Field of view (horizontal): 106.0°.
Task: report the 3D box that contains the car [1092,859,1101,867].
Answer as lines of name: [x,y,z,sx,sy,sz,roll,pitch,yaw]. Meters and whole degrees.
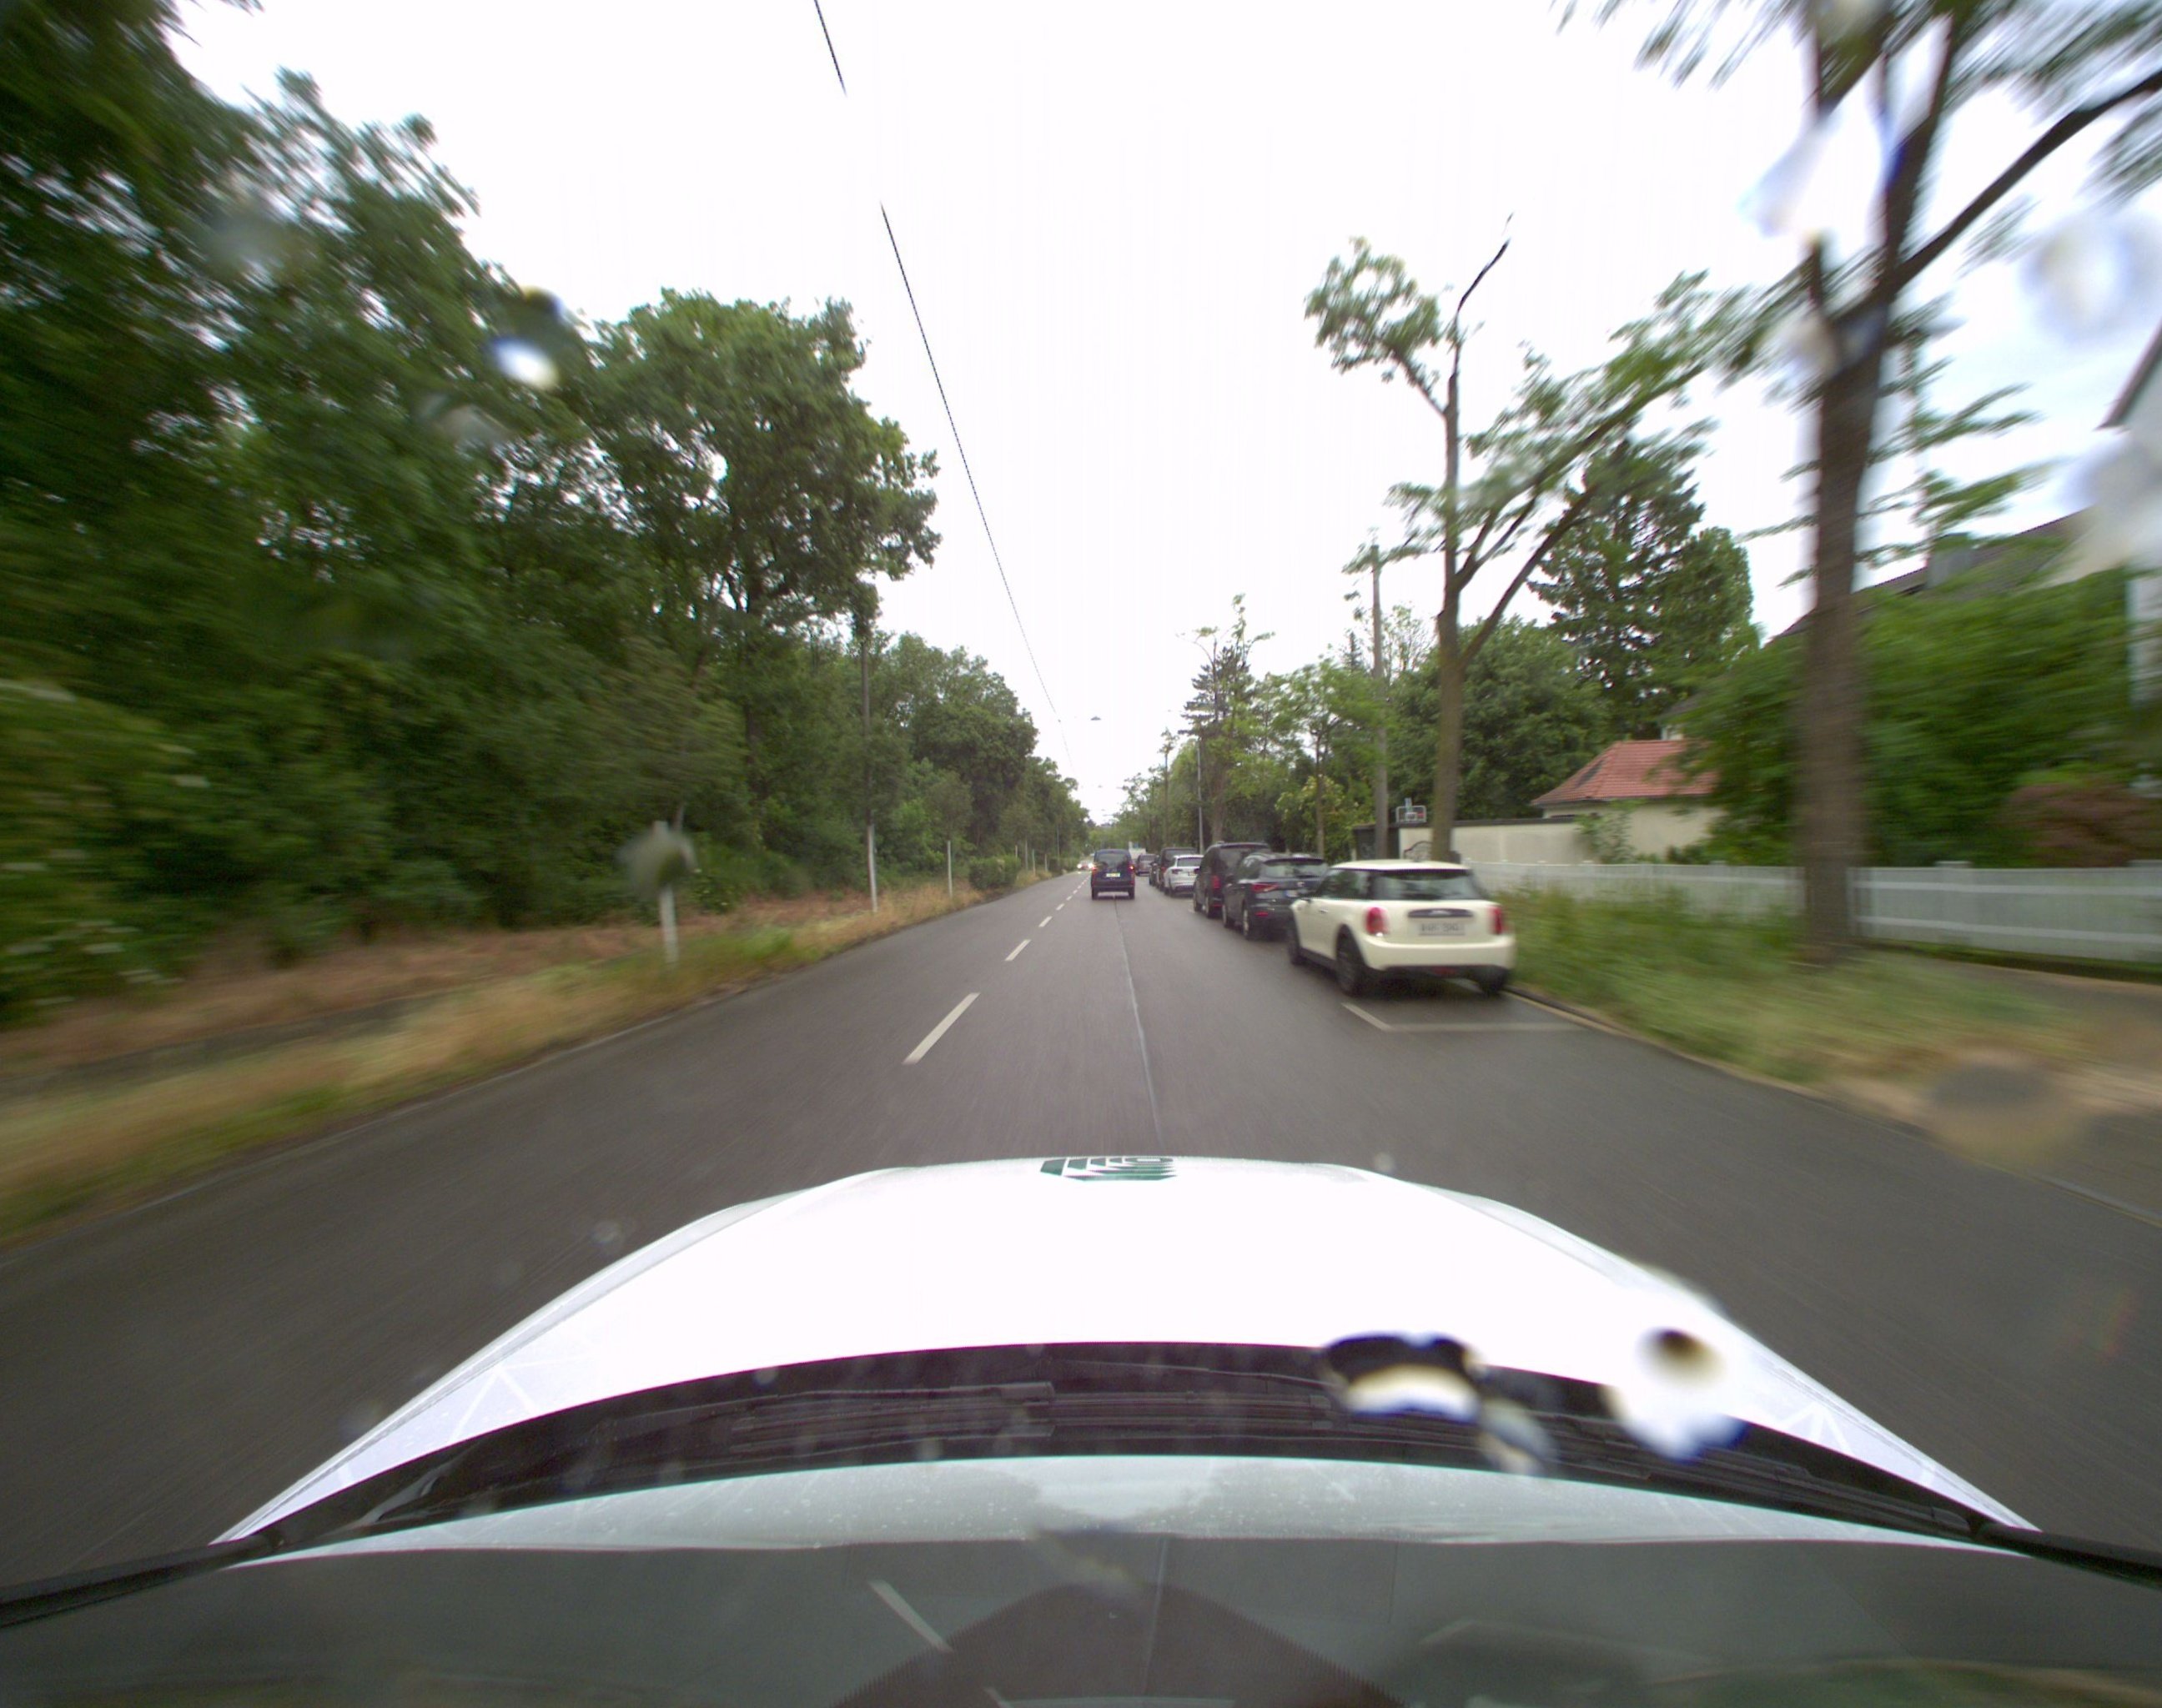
car: [3.086,1.704,160.201,1.777,1.479,3.968,-2,-2,1]

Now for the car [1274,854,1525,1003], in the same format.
car: [3.614,0.742,9.988,1.731,1.464,3.726,0,0,2]

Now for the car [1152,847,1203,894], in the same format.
car: [4.455,0.710,38.172,1.986,2.013,4.891,0,0,2]

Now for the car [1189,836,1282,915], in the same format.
car: [3.883,0.487,21.072,1.723,1.847,4.232,0,0,2]

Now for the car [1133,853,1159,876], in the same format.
car: [5.396,0.867,68.207,1.808,1.813,4.282,0,0,0]

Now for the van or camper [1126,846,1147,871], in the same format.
van or camper: [6.003,0.455,88.936,2.071,2.650,5.348,0,0,2]

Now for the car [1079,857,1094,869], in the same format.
car: [0.730,1.195,106.792,1.853,1.480,4.158,-3,-1,2]

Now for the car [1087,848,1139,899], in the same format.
car: [1.163,0.681,30.965,1.762,1.830,3.540,0,0,-1]

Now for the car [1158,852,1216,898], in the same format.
car: [4.063,0.758,31.723,1.798,1.613,4.287,0,0,1]

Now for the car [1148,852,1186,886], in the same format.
car: [4.667,0.774,44.525,1.766,1.723,4.329,0,0,2]

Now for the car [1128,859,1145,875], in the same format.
car: [5.535,1.284,81.109,1.618,1.464,3.813,0,0,5]

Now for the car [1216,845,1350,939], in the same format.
car: [3.692,0.625,15.577,1.672,1.555,4.077,0,0,2]
